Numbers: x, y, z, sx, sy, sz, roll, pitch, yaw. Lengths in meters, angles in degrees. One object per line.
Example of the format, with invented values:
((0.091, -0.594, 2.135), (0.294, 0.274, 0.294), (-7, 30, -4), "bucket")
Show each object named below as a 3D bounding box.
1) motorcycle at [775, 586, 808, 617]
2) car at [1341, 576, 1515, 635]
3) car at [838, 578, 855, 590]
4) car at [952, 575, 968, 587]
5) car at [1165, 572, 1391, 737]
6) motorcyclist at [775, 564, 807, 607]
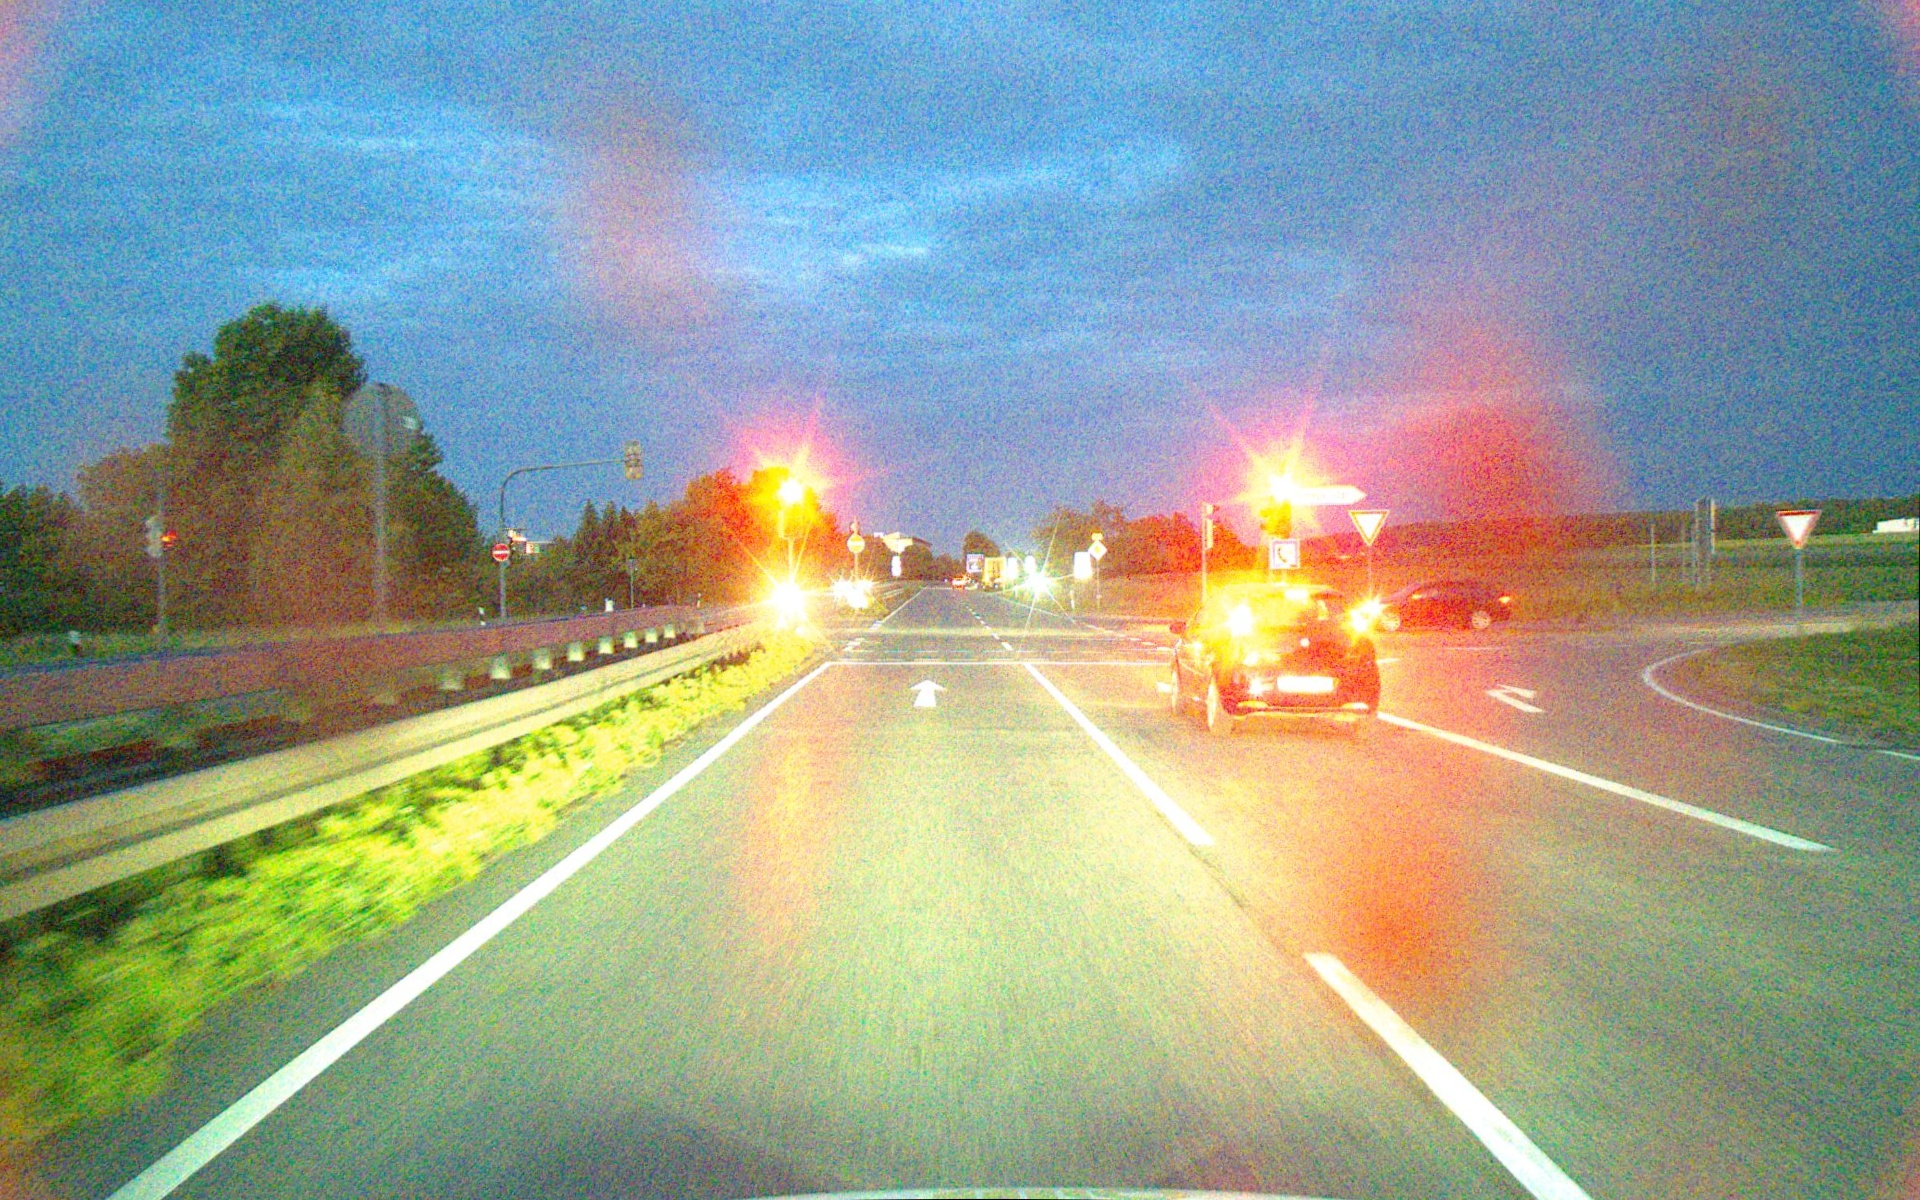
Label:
((-6.446, 0.058, 63.099), (0.962, 1.117, 2.501), (-2, 1, -12), "motorcycle")
((13.690, 0.135, 48.519), (4.507, 1.547, 2.000), (-2, 1, -1), "car")
((-15.048, -2.166, 219.487), (1.953, 1.545, 4.297), (-1, 1, -1), "car")
((-0.033, -2.865, 246.469), (2.228, 1.660, 3.999), (-1, 1, -2), "car")
((3.245, 0.483, 17.612), (1.636, 1.547, 4.106), (0, 1, 0), "car")
((-6.437, -0.558, 63.017), (1.117, 1.612, 0.970), (-2, 1, -12), "motorcyclist")
